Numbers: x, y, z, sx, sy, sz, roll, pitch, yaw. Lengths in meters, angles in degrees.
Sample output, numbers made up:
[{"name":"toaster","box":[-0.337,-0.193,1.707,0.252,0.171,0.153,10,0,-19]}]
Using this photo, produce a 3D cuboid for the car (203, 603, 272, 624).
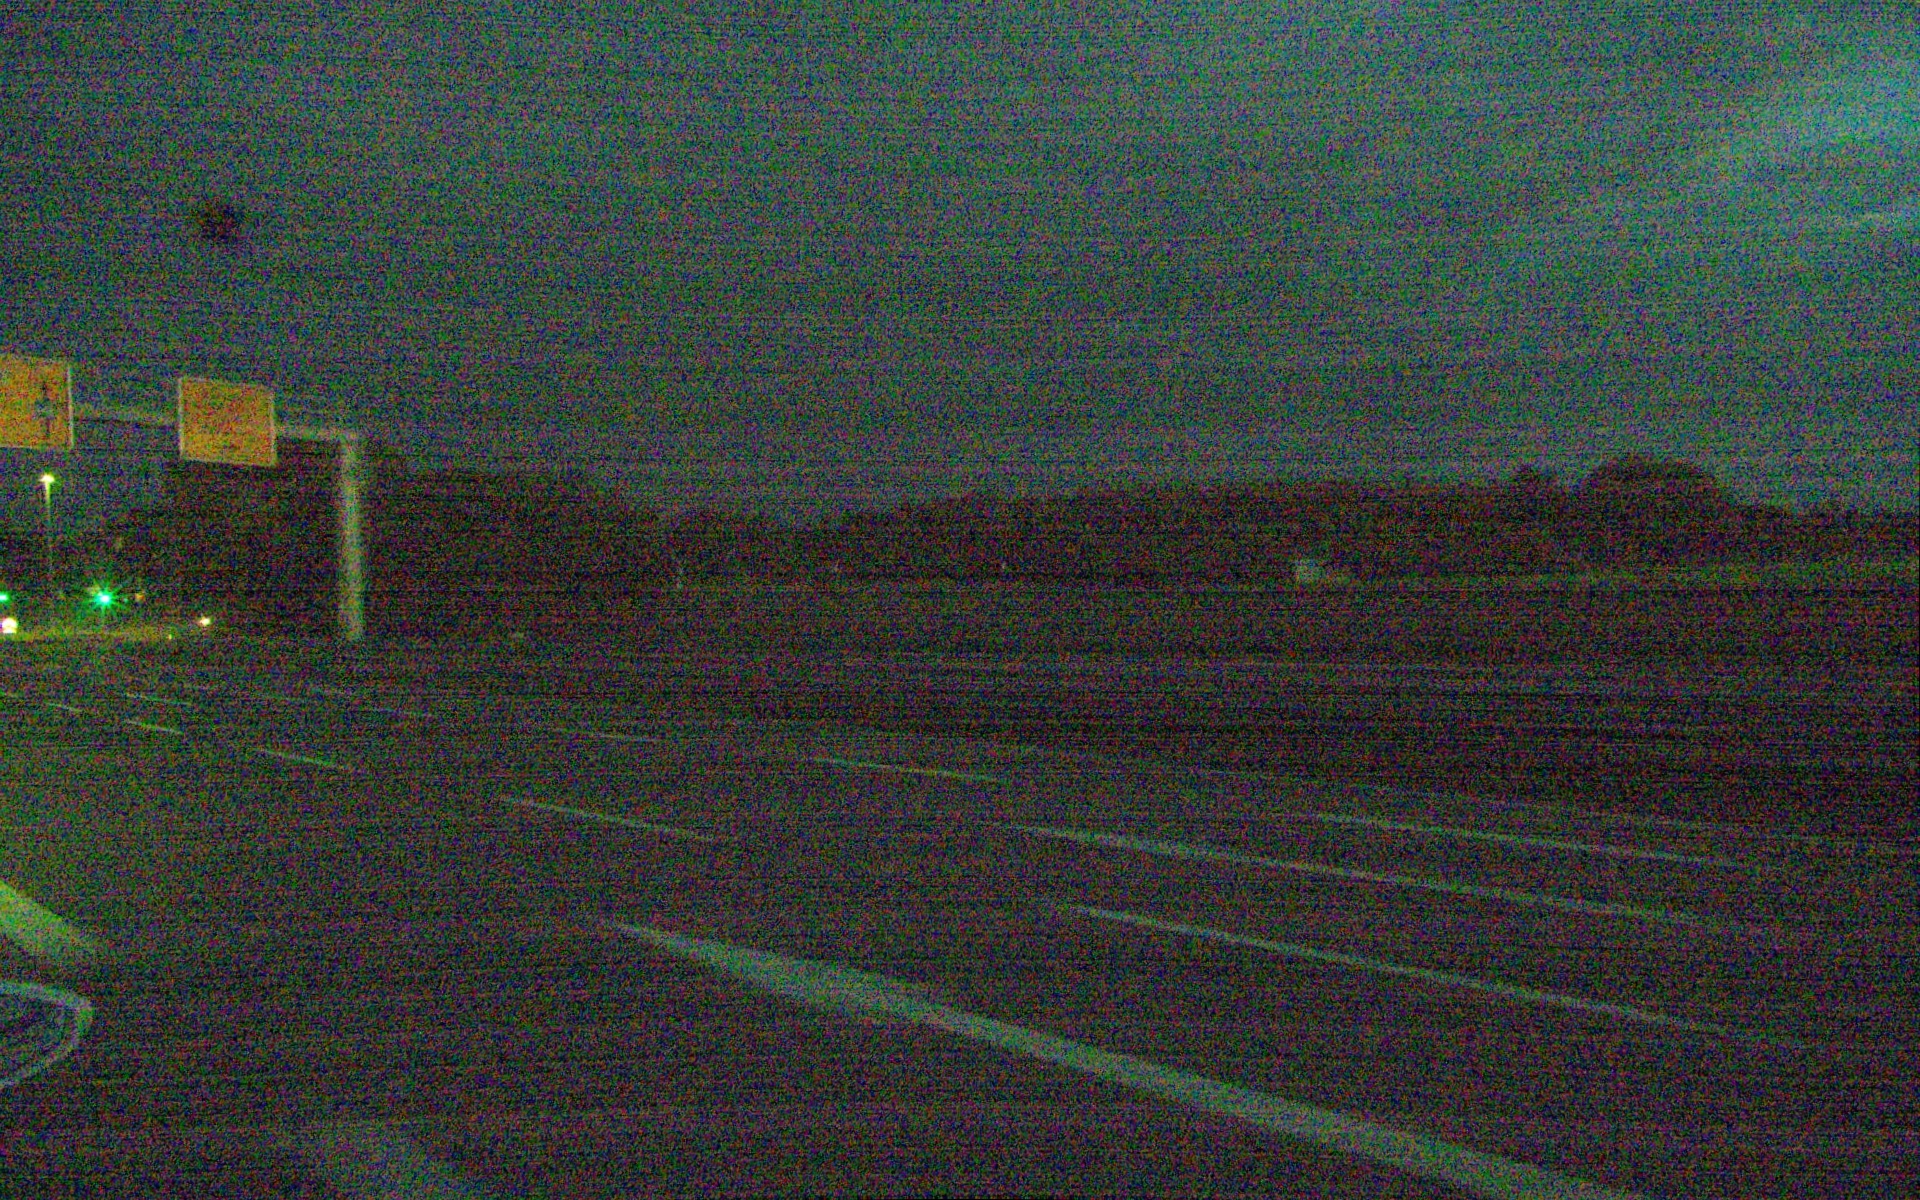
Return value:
[{"name":"car","box":[-56.884,1.046,78.900,1.977,1.590,4.057,1,1,38]}]
